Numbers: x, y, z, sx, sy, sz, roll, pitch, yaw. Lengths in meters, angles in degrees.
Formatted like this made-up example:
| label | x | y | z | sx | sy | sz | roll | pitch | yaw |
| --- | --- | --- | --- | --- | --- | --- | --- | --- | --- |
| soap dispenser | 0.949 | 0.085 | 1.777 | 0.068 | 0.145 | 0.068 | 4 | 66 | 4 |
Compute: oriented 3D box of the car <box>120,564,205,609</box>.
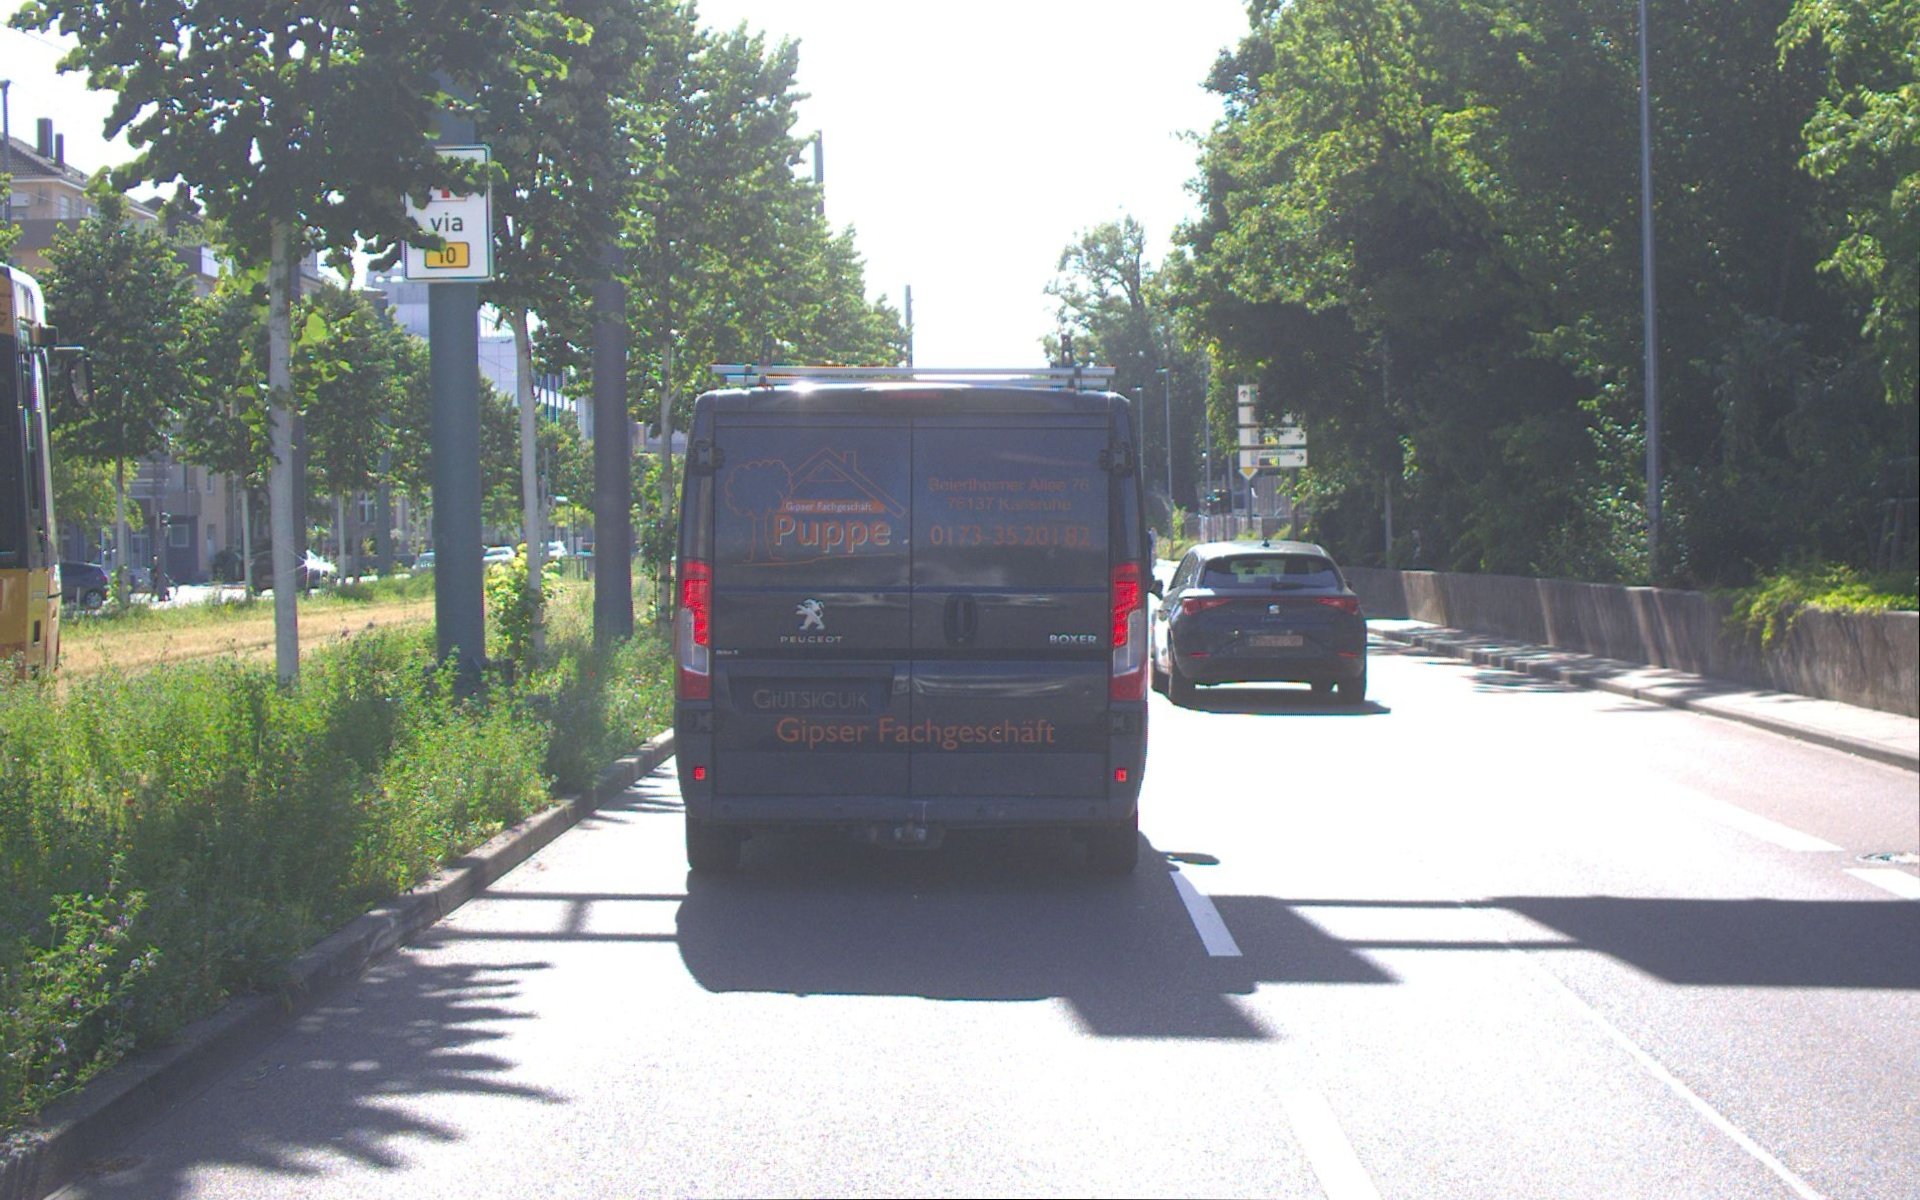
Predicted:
| label | x | y | z | sx | sy | sz | roll | pitch | yaw |
| --- | --- | --- | --- | --- | --- | --- | --- | --- | --- |
| car | -28.208 | -0.482 | 121.655 | 1.993 | 1.546 | 4.000 | 0 | 1 | 1 |

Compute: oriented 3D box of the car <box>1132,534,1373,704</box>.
| label | x | y | z | sx | sy | sz | roll | pitch | yaw |
| --- | --- | --- | --- | --- | --- | --- | --- | --- | --- |
| car | 2.622 | 0.140 | 31.650 | 1.763 | 1.457 | 4.000 | 0 | 1 | -2 |

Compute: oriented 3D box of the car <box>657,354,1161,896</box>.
| label | x | y | z | sx | sy | sz | roll | pitch | yaw |
| --- | --- | --- | --- | --- | --- | --- | --- | --- | --- |
| car | -0.218 | 0.079 | 16.269 | 2.082 | 2.241 | 4.000 | 0 | 1 | 0 |

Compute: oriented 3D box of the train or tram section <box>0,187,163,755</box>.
| label | x | y | z | sx | sy | sz | roll | pitch | yaw |
| --- | --- | --- | --- | --- | --- | --- | --- | --- | --- |
| train or tram section | -7.286 | -0.804 | 20.054 | 1.994 | 3.656 | 11.683 | 0 | 1 | 3 |
